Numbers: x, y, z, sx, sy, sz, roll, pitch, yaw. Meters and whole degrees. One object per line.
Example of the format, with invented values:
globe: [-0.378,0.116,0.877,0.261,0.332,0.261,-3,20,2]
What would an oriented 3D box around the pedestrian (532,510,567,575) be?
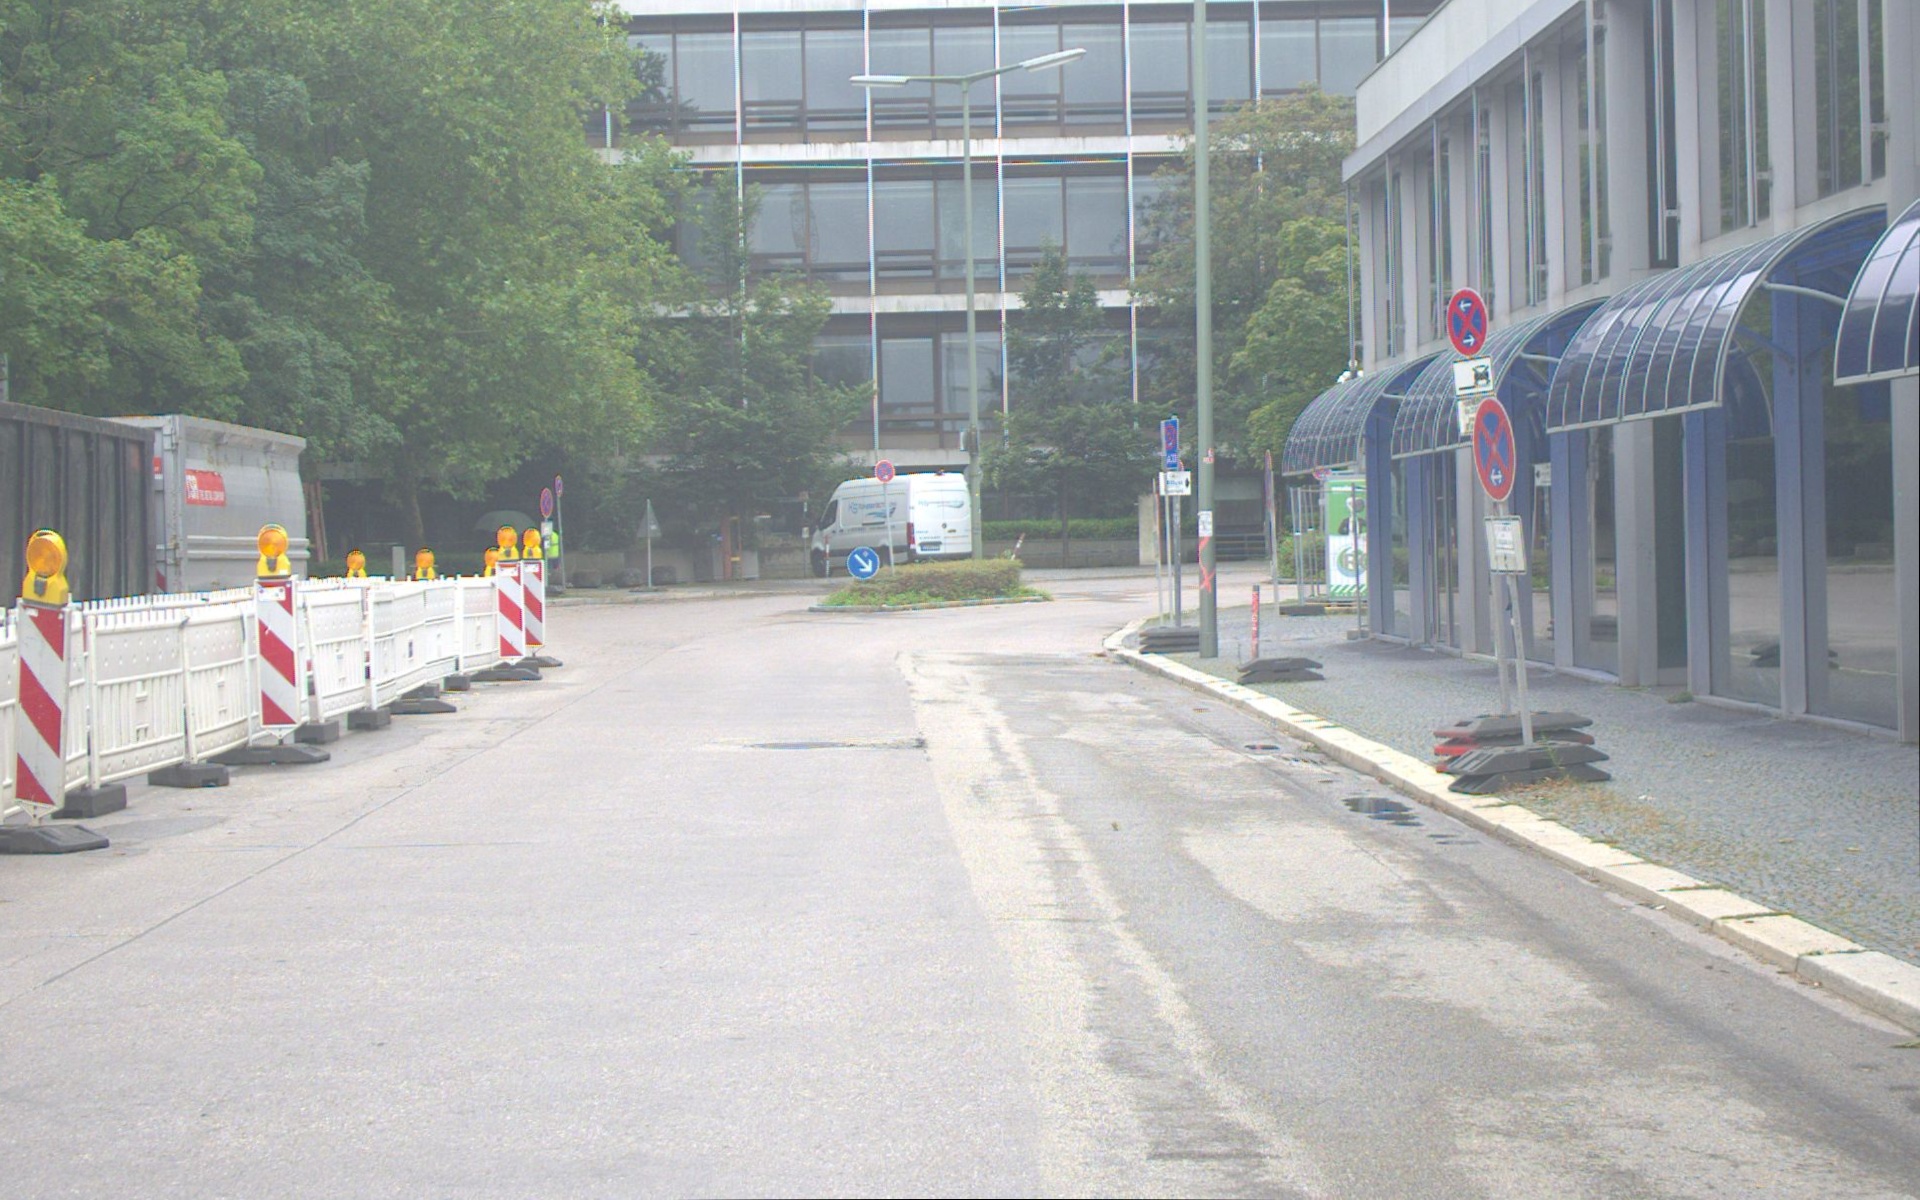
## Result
pedestrian: [-10.644,-1.485,89.205,0.741,1.671,0.682,-1,1,-20]

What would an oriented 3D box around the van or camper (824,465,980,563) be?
van or camper: [-1.568,-2.262,90.556,2.085,2.483,5.068,-2,2,-27]
